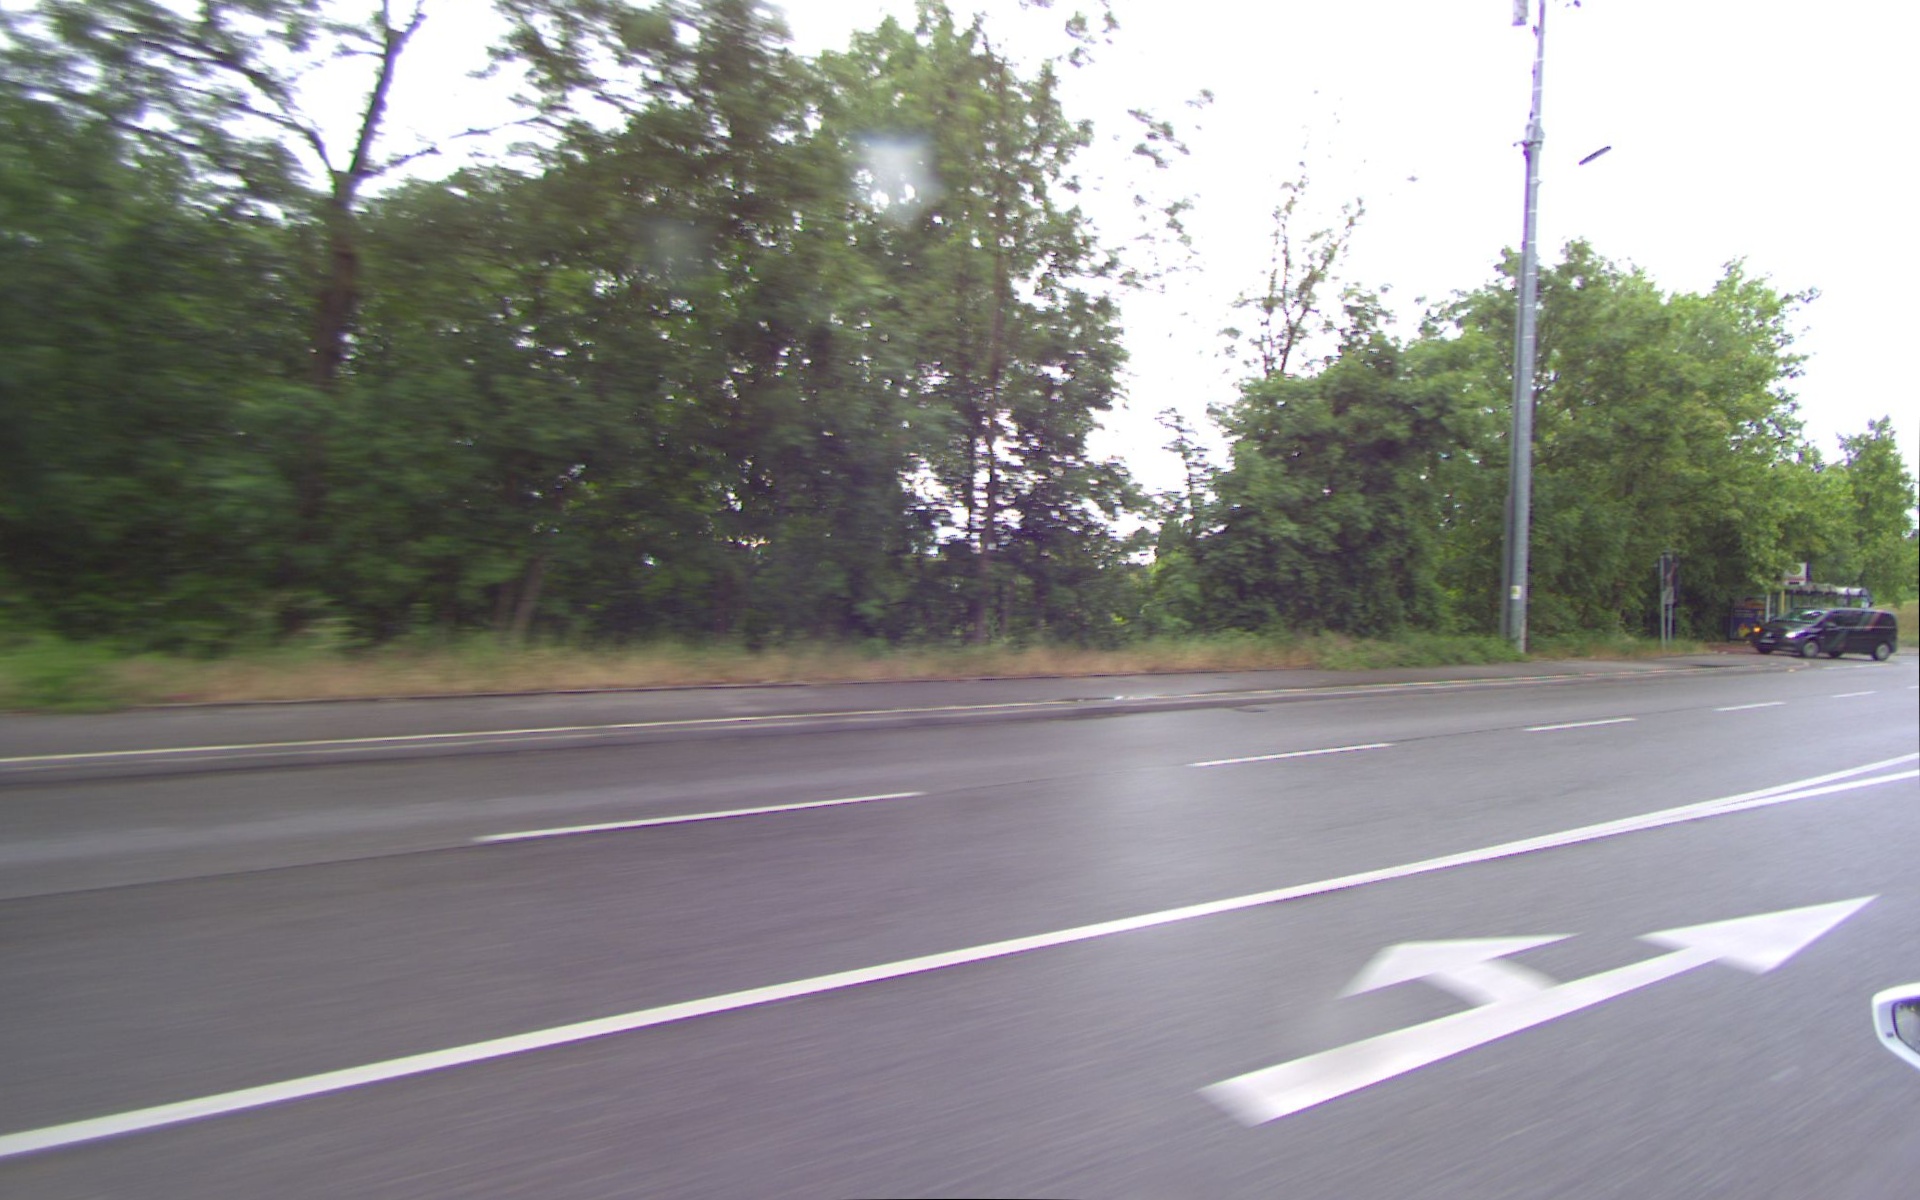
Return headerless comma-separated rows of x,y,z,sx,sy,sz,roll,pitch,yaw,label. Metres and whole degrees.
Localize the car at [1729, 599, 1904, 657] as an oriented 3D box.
32.196,1.026,37.823,5.064,1.972,2.107,2,0,-7,car
